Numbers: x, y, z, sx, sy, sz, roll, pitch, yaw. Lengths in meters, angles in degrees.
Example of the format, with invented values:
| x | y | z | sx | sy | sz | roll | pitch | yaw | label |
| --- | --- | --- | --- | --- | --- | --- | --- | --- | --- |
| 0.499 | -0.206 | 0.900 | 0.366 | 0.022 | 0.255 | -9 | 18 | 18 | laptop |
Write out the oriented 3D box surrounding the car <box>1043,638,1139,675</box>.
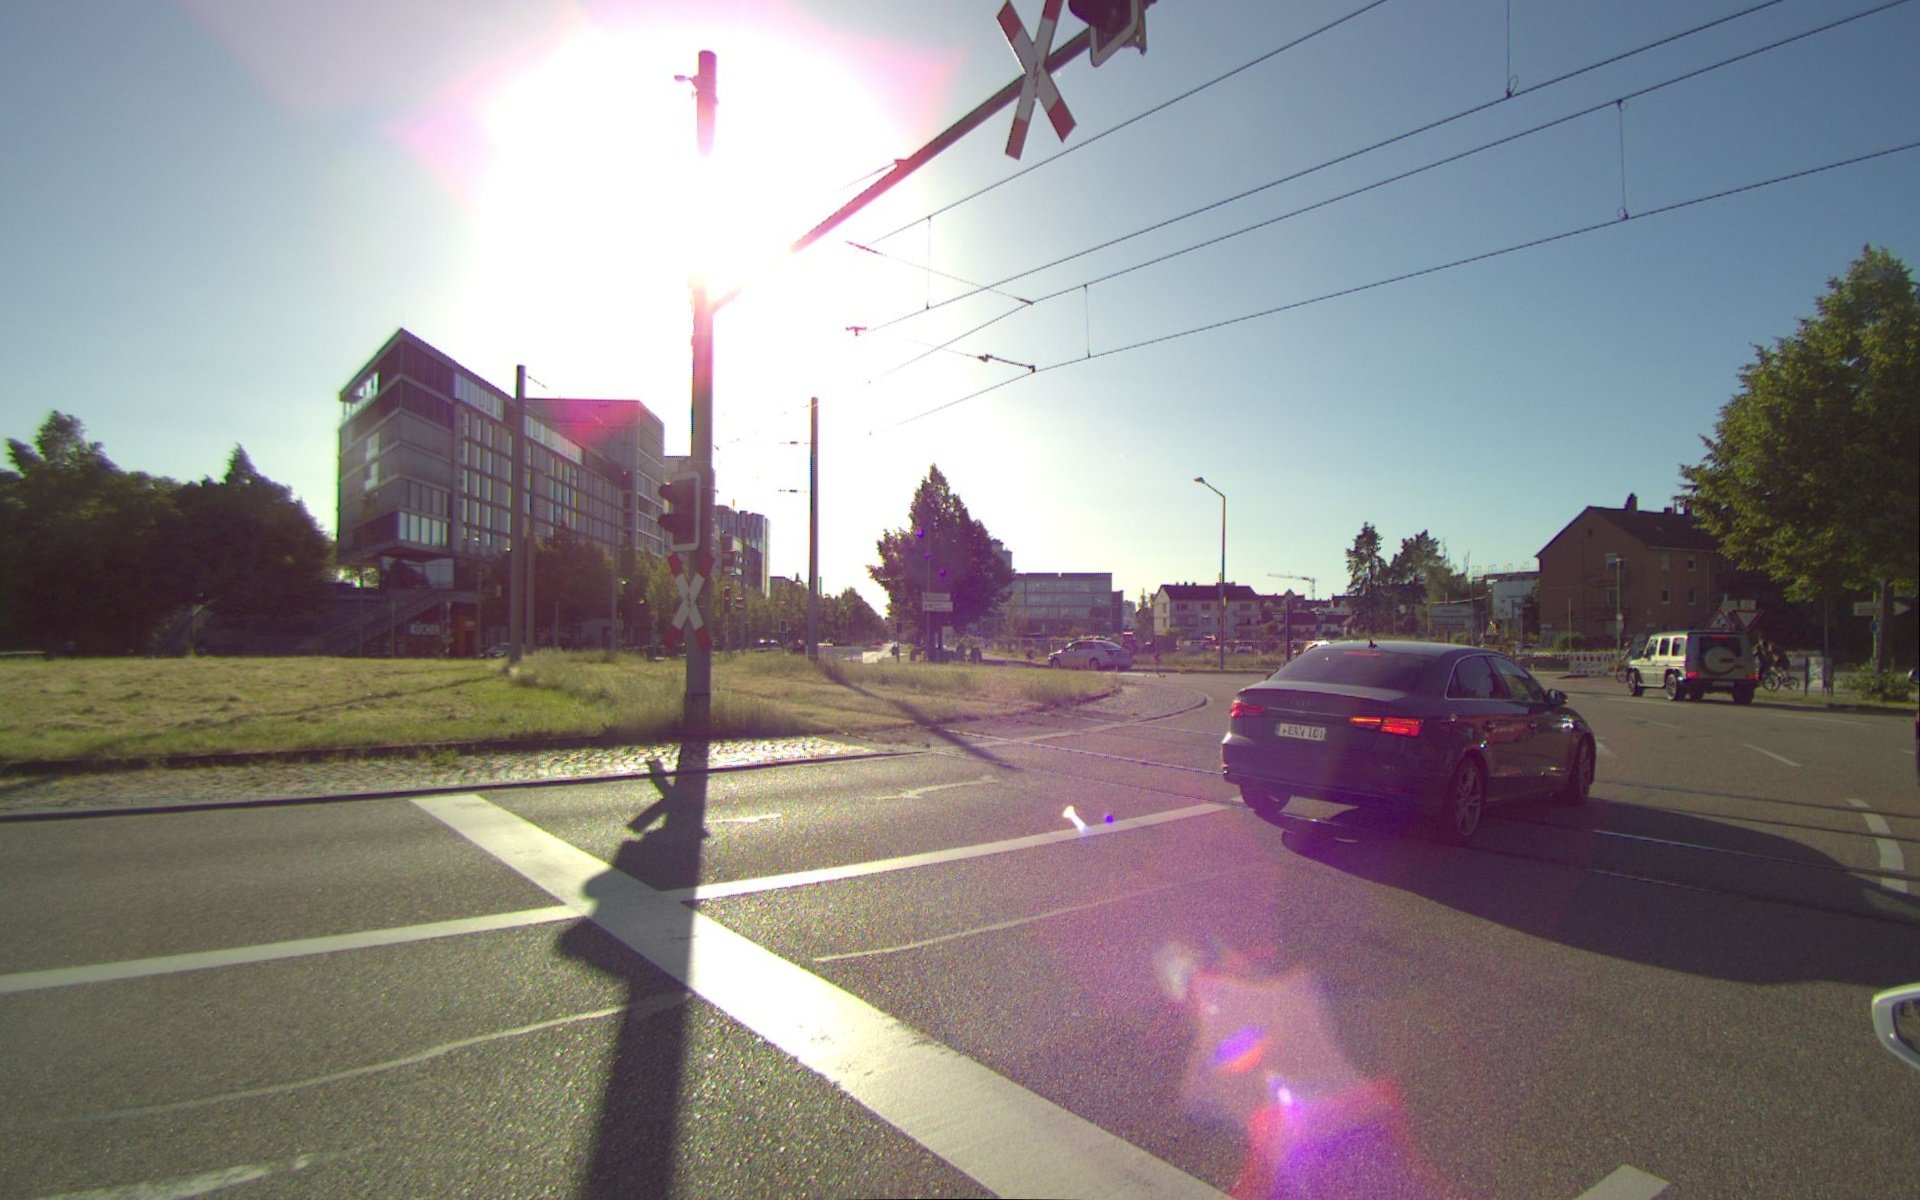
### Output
| x | y | z | sx | sy | sz | roll | pitch | yaw | label |
| --- | --- | --- | --- | --- | --- | --- | --- | --- | --- |
| 6.003 | 2.576 | 46.535 | 1.981 | 1.596 | 4.363 | 1 | -2 | -36 | car |

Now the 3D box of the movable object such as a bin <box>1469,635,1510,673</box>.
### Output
| x | y | z | sx | sy | sz | roll | pitch | yaw | label |
| --- | --- | --- | --- | --- | --- | --- | --- | --- | --- |
| 41.137 | 4.181 | 78.156 | 2.380 | 2.809 | 4.000 | 2 | -2 | 22 | movable object such as a bin |

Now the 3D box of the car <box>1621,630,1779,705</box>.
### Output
| x | y | z | sx | sy | sz | roll | pitch | yaw | label |
| --- | --- | --- | --- | --- | --- | --- | --- | --- | --- |
| 21.117 | 1.891 | 28.934 | 1.963 | 1.922 | 4.756 | 1 | -2 | 13 | car |

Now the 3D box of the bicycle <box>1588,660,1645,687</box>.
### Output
| x | y | z | sx | sy | sz | roll | pitch | yaw | label |
| --- | --- | --- | --- | --- | --- | --- | --- | --- | --- |
| 28.784 | 3.202 | 44.077 | 0.734 | 1.041 | 1.992 | -1 | 0 | -33 | bicycle |

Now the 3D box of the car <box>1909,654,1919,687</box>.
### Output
| x | y | z | sx | sy | sz | roll | pitch | yaw | label |
| --- | --- | --- | --- | --- | --- | --- | --- | --- | --- |
| 57.114 | 4.147 | 57.909 | 3.941 | 1.896 | 1.991 | 3 | -2 | -21 | car |

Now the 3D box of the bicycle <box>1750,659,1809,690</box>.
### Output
| x | y | z | sx | sy | sz | roll | pitch | yaw | label |
| --- | --- | --- | --- | --- | --- | --- | --- | --- | --- |
| 30.548 | 2.766 | 37.458 | 0.647 | 1.041 | 1.824 | 2 | -2 | -2 | bicycle |

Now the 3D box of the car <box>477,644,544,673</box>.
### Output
| x | y | z | sx | sy | sz | roll | pitch | yaw | label |
| --- | --- | --- | --- | --- | --- | --- | --- | --- | --- |
| -30.011 | 3.871 | 67.173 | 1.742 | 1.808 | 3.915 | 0 | -2 | 25 | car |

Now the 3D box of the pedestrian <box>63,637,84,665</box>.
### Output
| x | y | z | sx | sy | sz | roll | pitch | yaw | label |
| --- | --- | --- | --- | --- | --- | --- | --- | --- | --- |
| -52.135 | 2.989 | 59.086 | 0.872 | 1.651 | 0.758 | -1 | -2 | 39 | pedestrian |

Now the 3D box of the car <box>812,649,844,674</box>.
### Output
| x | y | z | sx | sy | sz | roll | pitch | yaw | label |
| --- | --- | --- | --- | --- | --- | --- | --- | --- | --- |
| -9.256 | 4.314 | 70.570 | 1.962 | 1.596 | 4.406 | 0 | -2 | -4 | car |

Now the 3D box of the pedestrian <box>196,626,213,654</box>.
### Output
| x | y | z | sx | sy | sz | roll | pitch | yaw | label |
| --- | --- | --- | --- | --- | --- | --- | --- | --- | --- |
| -55.579 | 2.978 | 73.915 | 0.822 | 2.040 | 0.636 | 2 | -2 | -24 | pedestrian |

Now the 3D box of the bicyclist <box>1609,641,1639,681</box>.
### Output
| x | y | z | sx | sy | sz | roll | pitch | yaw | label |
| --- | --- | --- | --- | --- | --- | --- | --- | --- | --- |
| 28.952 | 2.655 | 43.787 | 0.734 | 1.703 | 0.846 | -1 | 0 | -34 | bicyclist |

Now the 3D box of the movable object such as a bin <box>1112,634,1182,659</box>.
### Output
| x | y | z | sx | sy | sz | roll | pitch | yaw | label |
| --- | --- | --- | --- | --- | --- | --- | --- | --- | --- |
| 22.385 | 5.557 | 120.543 | 7.776 | 2.819 | 2.944 | 1 | -2 | -1 | movable object such as a bin |

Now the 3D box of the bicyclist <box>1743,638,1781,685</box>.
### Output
| x | y | z | sx | sy | sz | roll | pitch | yaw | label |
| --- | --- | --- | --- | --- | --- | --- | --- | --- | --- |
| 29.451 | 2.239 | 36.893 | 0.647 | 1.687 | 0.899 | 2 | -2 | 0 | bicyclist |

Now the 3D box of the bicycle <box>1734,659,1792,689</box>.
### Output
| x | y | z | sx | sy | sz | roll | pitch | yaw | label |
| --- | --- | --- | --- | --- | --- | --- | --- | --- | --- |
| 29.446 | 2.705 | 36.868 | 0.647 | 1.041 | 1.824 | 2 | -2 | 1 | bicycle |

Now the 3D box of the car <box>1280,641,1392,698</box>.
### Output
| x | y | z | sx | sy | sz | roll | pitch | yaw | label |
| --- | --- | --- | --- | --- | --- | --- | --- | --- | --- |
| 11.274 | 2.039 | 30.384 | 1.774 | 1.480 | 3.808 | 2 | -1 | -3 | car |

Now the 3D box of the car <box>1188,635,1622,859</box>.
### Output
| x | y | z | sx | sy | sz | roll | pitch | yaw | label |
| --- | --- | --- | --- | --- | --- | --- | --- | --- | --- |
| 3.949 | 1.025 | 8.529 | 4.326 | 1.398 | 1.745 | 2 | -2 | -42 | car |

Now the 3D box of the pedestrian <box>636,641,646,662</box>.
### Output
| x | y | z | sx | sy | sz | roll | pitch | yaw | label |
| --- | --- | --- | --- | --- | --- | --- | --- | --- | --- |
| -23.738 | 3.832 | 74.814 | 0.546 | 1.485 | 0.677 | 1 | -2 | -6 | pedestrian |

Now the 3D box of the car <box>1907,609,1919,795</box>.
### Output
| x | y | z | sx | sy | sz | roll | pitch | yaw | label |
| --- | --- | --- | --- | --- | --- | --- | --- | --- | --- |
| 9.510 | 0.972 | 8.449 | 1.779 | 1.837 | 3.796 | 1 | -1 | 37 | car |

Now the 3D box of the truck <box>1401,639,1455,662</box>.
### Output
| x | y | z | sx | sy | sz | roll | pitch | yaw | label |
| --- | --- | --- | --- | --- | --- | --- | --- | --- | --- |
| 45.371 | 4.856 | 97.542 | 2.129 | 2.040 | 6.437 | 2 | -2 | 0 | truck |

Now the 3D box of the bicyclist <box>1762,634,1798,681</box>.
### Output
| x | y | z | sx | sy | sz | roll | pitch | yaw | label |
| --- | --- | --- | --- | --- | --- | --- | --- | --- | --- |
| 30.558 | 2.140 | 37.422 | 0.642 | 1.752 | 0.813 | 1 | -3 | -2 | bicyclist |
